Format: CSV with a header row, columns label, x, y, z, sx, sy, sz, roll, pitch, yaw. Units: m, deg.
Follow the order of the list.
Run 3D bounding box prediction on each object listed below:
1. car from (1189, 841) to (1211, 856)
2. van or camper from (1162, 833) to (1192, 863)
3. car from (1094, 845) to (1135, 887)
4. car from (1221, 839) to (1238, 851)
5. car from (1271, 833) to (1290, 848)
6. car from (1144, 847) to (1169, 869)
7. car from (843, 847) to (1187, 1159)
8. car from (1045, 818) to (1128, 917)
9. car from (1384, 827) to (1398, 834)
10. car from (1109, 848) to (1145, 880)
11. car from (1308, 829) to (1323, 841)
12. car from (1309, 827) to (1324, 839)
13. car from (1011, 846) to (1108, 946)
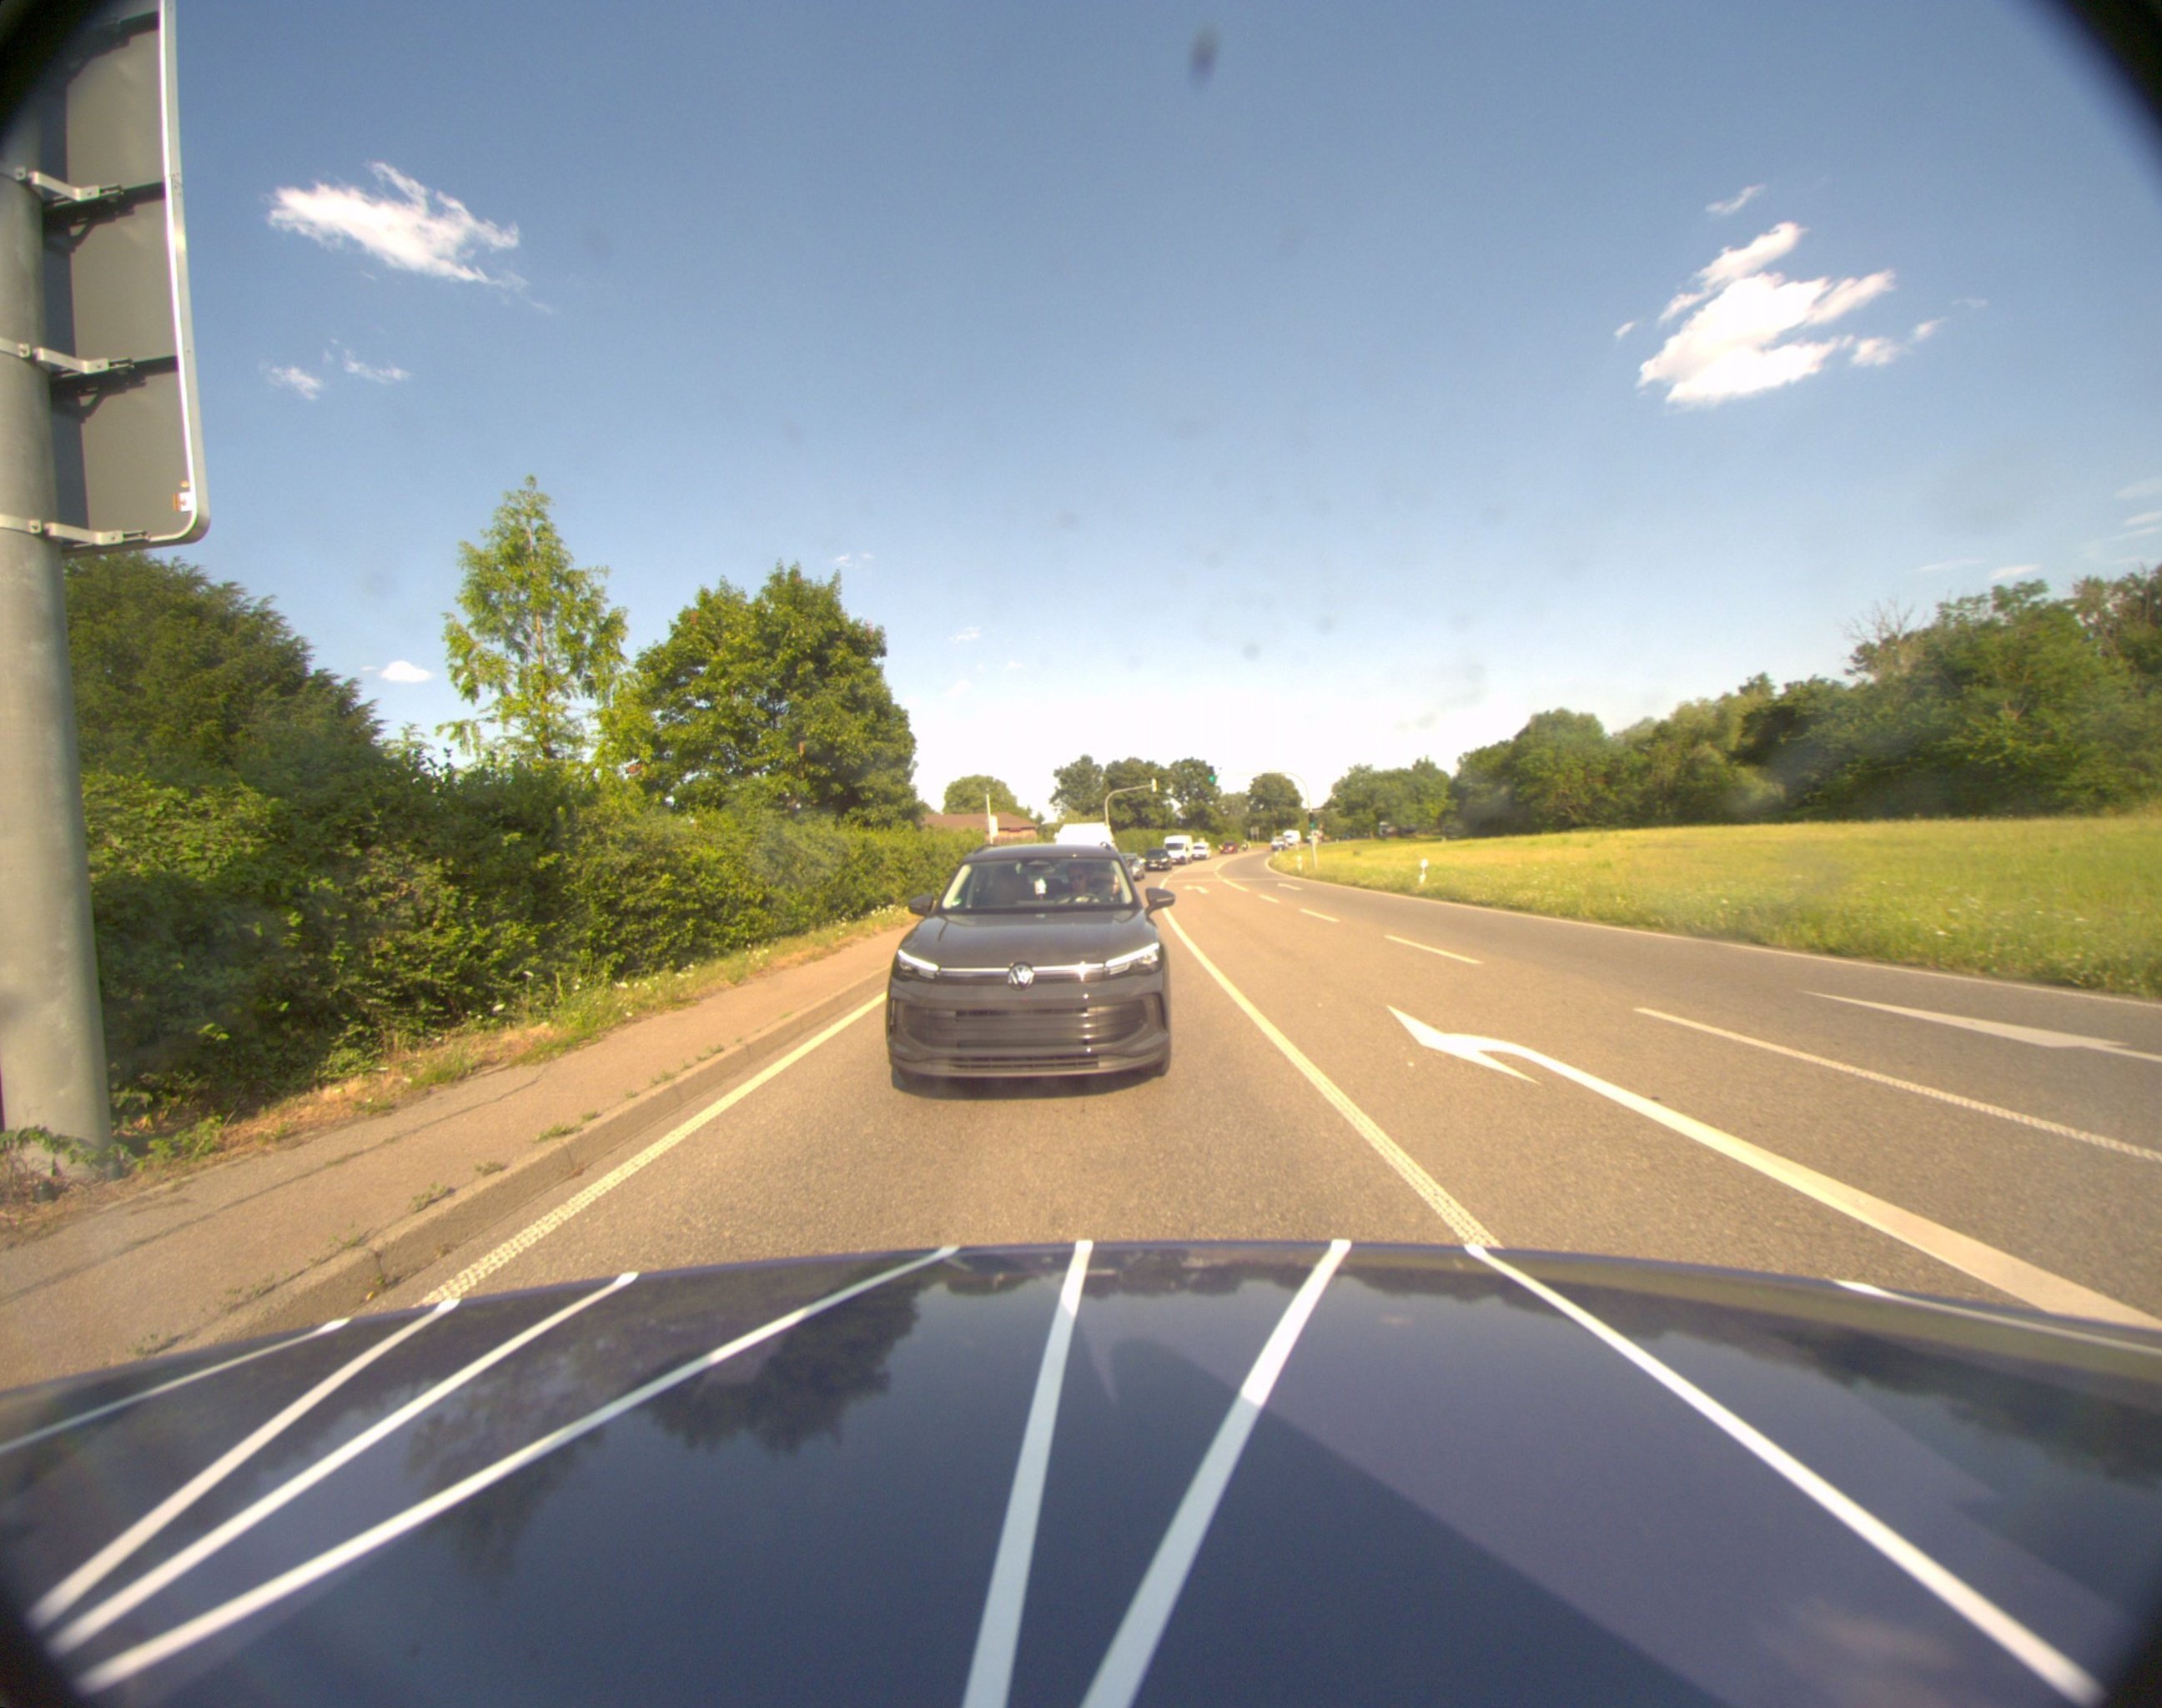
label,x,y,z,sx,sy,sz,roll,pitch,yaw
car,12.617,-0.598,80.434,1.671,1.471,3.498,-4,0,20
van or camper,8.654,-0.557,68.095,2.032,2.461,5.081,-4,0,13
car,1.555,0.510,34.382,1.673,1.718,3.668,0,2,6
car,20.350,-1.285,104.049,1.671,1.471,3.498,-4,0,20
car,29.076,-1.944,110.682,2.000,2.124,4.786,-2,0,22
car,5.368,0.273,53.828,1.606,1.471,3.618,0,1,9
car,-0.346,0.812,6.202,1.866,1.633,3.999,-1,2,0
car,0.267,0.320,20.687,1.844,2.338,4.791,-1,0,5
car,75.218,-5.725,184.420,3.614,1.458,1.586,-1,1,-39
car,2.445,0.506,39.853,1.634,1.549,3.419,-1,0,7
car,43.422,-3.493,140.501,1.782,2.002,3.851,-4,1,30
car,49.235,-4.438,158.592,1.995,2.373,4.944,-4,1,28
car,-0.309,0.721,15.159,1.659,1.720,3.804,-1,1,2
